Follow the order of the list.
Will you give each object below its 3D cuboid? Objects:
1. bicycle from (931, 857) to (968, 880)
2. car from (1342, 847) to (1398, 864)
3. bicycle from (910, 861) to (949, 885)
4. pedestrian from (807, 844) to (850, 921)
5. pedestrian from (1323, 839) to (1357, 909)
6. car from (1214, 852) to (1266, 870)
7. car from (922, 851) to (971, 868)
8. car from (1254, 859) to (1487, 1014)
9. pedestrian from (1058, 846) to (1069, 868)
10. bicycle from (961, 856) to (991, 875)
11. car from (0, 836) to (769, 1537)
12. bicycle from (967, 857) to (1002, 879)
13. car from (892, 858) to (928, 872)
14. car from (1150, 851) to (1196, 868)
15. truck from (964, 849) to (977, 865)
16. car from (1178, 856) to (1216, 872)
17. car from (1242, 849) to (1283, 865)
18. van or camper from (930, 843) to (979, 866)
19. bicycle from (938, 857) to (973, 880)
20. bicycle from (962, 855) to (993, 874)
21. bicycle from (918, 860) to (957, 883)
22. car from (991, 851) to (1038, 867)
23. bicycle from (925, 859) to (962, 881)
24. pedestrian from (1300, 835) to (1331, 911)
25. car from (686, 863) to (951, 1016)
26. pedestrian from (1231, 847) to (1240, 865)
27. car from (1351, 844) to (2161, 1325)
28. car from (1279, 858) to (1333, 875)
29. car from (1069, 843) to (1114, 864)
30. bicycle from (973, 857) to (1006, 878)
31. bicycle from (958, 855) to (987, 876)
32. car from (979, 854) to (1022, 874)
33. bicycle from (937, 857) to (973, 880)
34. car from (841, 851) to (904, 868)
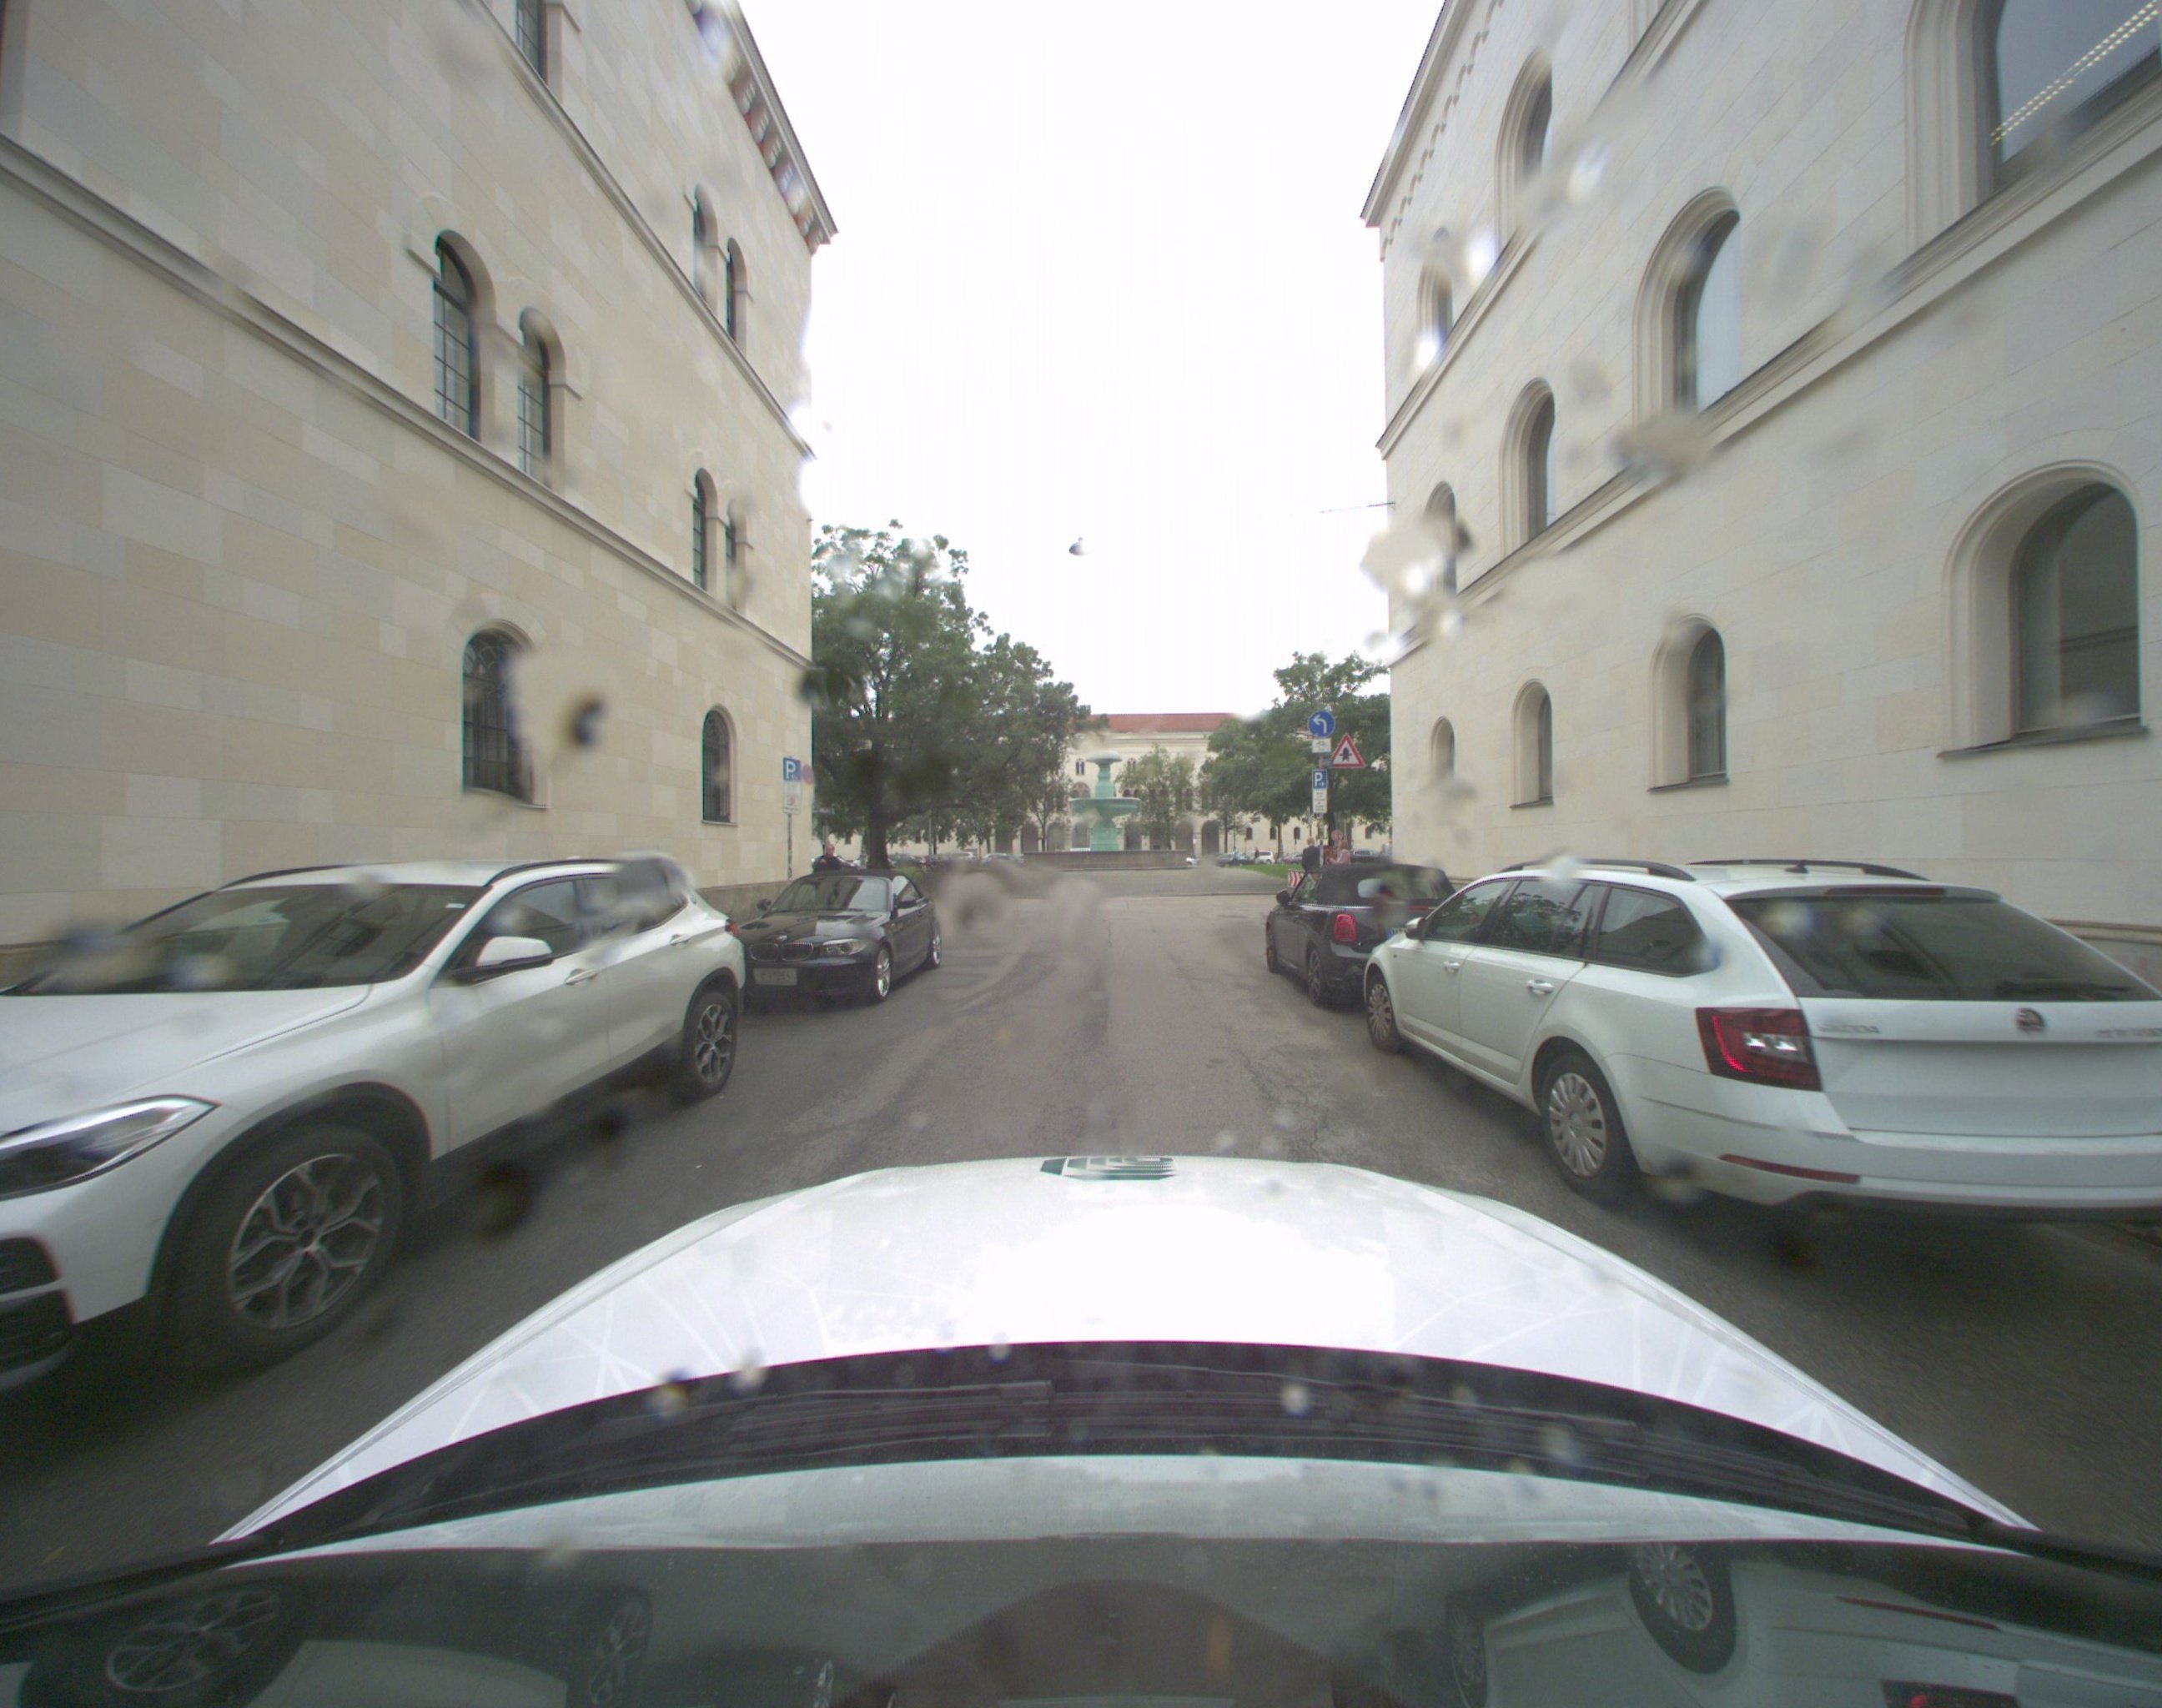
[{"bbox_3d":[-6.416,0.703,39.749,1.607,1.098,0.701,0,0,12],"label":"bicycle"},{"bbox_3d":[25.463,0.156,71.760,4.339,1.418,1.805,-1,1,3],"label":"car"},{"bbox_3d":[-6.946,0.864,37.381,1.607,1.035,0.701,0,0,12],"label":"bicycle"},{"bbox_3d":[-5.926,0.658,19.157,0.752,1.749,0.689,-1,0,0],"label":"pedestrian"},{"bbox_3d":[6.302,0.479,19.798,0.619,1.681,0.545,1,0,-4],"label":"pedestrian"},{"bbox_3d":[14.081,0.600,72.142,4.339,1.524,1.805,-1,1,3],"label":"car"},{"bbox_3d":[-11.975,0.472,72.480,3.974,1.376,2.000,-1,1,0],"label":"car"},{"bbox_3d":[3.116,0.790,9.543,1.534,1.426,3.774,0,0,3],"label":"car"},{"bbox_3d":[-1.367,0.214,62.957,0.748,1.640,0.710,-1,0,1],"label":"pedestrian"},{"bbox_3d":[-5.879,0.629,45.750,1.525,1.019,0.701,0,0,12],"label":"bicycle"},{"bbox_3d":[-3.241,0.774,3.885,1.772,1.535,4.212,-2,0,1],"label":"car"},{"bbox_3d":[-4.994,0.709,42.164,1.698,1.098,0.701,0,0,12],"label":"bicycle"},{"bbox_3d":[-19.076,1.227,90.942,3.659,1.376,1.603,-1,1,0],"label":"car"},{"bbox_3d":[8.170,0.460,72.288,3.969,1.403,1.826,-1,0,4],"label":"car"},{"bbox_3d":[-17.334,0.414,127.471,1.993,2.488,3.988,0,1,-9],"label":"truck"},{"bbox_3d":[12.817,1.117,90.322,3.973,1.750,1.808,0,0,0],"label":"car"},{"bbox_3d":[20.063,0.356,90.106,4.086,1.741,1.745,0,0,-2],"label":"car"},{"bbox_3d":[-12.942,0.043,83.337,4.566,2.014,1.999,-3,-1,-1],"label":"van or camper"},{"bbox_3d":[-6.414,0.734,41.491,1.607,1.098,0.701,0,0,12],"label":"bicycle"},{"bbox_3d":[-5.674,0.597,44.812,1.525,1.019,0.701,0,0,12],"label":"bicycle"},{"bbox_3d":[-6.742,0.801,38.281,1.607,1.035,0.701,0,0,12],"label":"bicycle"},{"bbox_3d":[-5.911,0.436,72.550,3.974,1.376,2.000,-1,1,0],"label":"car"},{"bbox_3d":[-6.580,0.751,38.994,1.607,1.035,0.701,0,0,12],"label":"bicycle"},{"bbox_3d":[5.595,0.448,19.458,0.638,1.808,0.490,-1,0,7],"label":"pedestrian"},{"bbox_3d":[-2.862,0.841,9.935,1.692,1.393,4.213,-2,0,2],"label":"car"},{"bbox_3d":[12.337,0.174,65.051,0.577,1.465,0.551,-1,0,25],"label":"pedestrian"},{"bbox_3d":[3.088,0.706,4.702,1.782,1.476,4.316,-1,0,3],"label":"car"},{"bbox_3d":[19.850,1.066,71.978,4.339,1.418,1.805,-1,1,3],"label":"car"},{"bbox_3d":[1.076,-0.060,80.001,4.305,2.013,1.826,0,0,5],"label":"car"},{"bbox_3d":[-4.828,0.695,42.866,1.607,1.098,0.618,0,0,12],"label":"bicycle"},{"bbox_3d":[-5.844,0.620,43.943,1.391,1.098,0.659,0,0,12],"label":"bicycle"},{"bbox_3d":[-7.643,0.975,77.562,3.875,1.868,1.772,0,0,0],"label":"car"},{"bbox_3d":[-6.273,0.701,40.470,1.607,1.098,0.701,0,0,12],"label":"bicycle"},{"bbox_3d":[-18.676,0.478,72.981,5.056,1.376,2.000,-1,1,0],"label":"car"}]
